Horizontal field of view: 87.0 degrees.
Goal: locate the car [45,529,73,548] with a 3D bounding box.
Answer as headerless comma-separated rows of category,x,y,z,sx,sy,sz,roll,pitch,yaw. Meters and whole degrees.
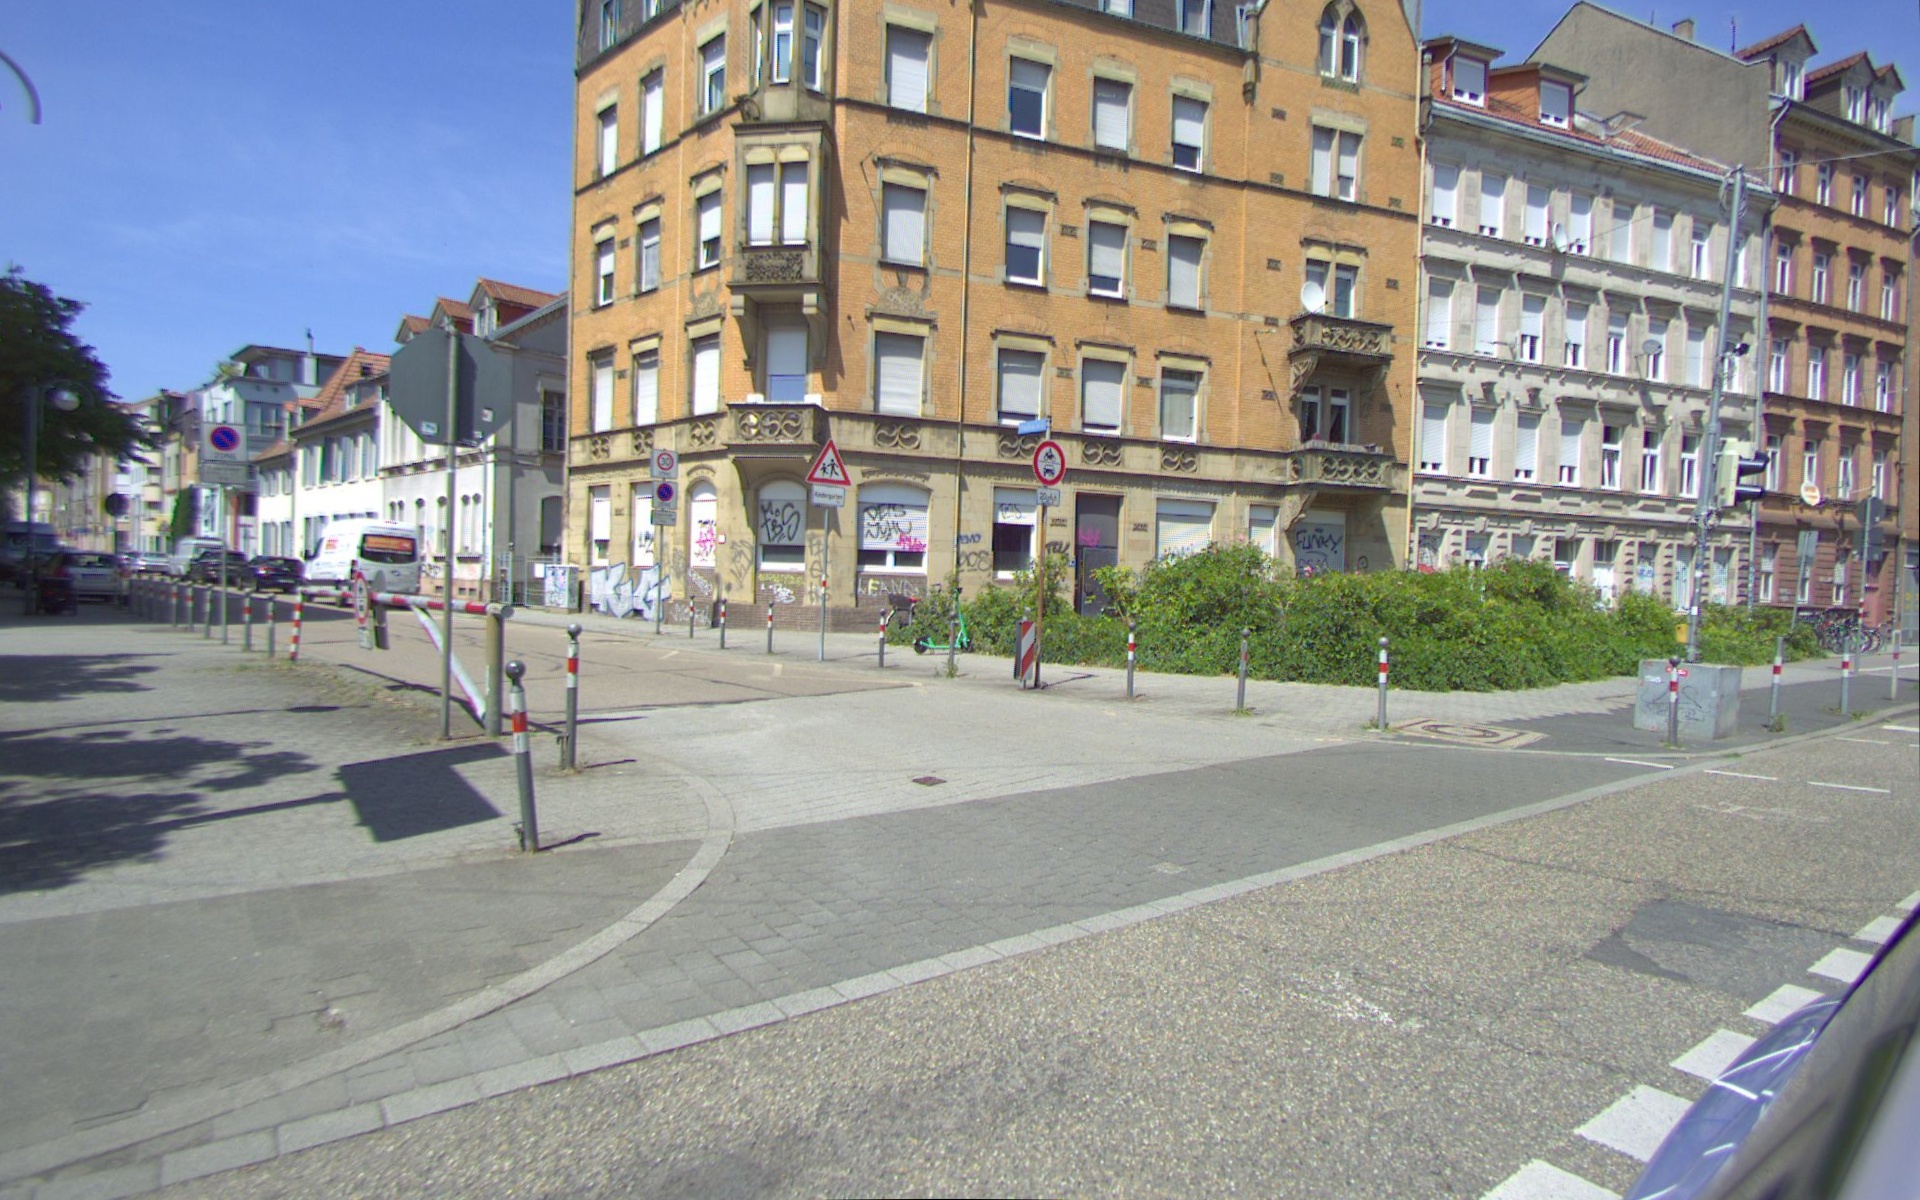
car,-93.012,-6.353,104.458,3.686,1.761,1.815,2,0,44

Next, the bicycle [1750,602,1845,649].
bicycle,22.780,0.664,27.550,0.483,1.195,1.921,1,0,-35

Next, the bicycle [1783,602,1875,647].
bicycle,24.714,0.690,28.803,0.483,1.195,1.921,1,0,-35

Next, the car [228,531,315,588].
car,-27.391,-1.576,40.207,1.967,2.061,4.815,1,0,-45

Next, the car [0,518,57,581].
car,-41.740,-2.222,45.195,3.818,2.673,1.637,2,0,42

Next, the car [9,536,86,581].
car,-32.709,-1.463,36.247,3.818,1.512,1.637,2,0,42

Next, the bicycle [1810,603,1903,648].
bicycle,25.782,0.720,29.132,0.483,1.195,1.921,1,0,-35

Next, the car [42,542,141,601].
car,-24.225,-0.783,28.182,3.818,1.538,1.586,2,0,42

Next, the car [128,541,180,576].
car,-50.238,-2.543,63.068,1.967,2.061,4.815,1,0,-45

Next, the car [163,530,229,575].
car,-38.053,-2.320,50.374,1.967,2.061,4.815,1,0,-45

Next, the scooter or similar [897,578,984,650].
scooter or similar,-0.340,0.251,17.826,1.458,1.220,0.491,1,0,-32

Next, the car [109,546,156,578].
car,-55.655,-2.520,68.006,1.967,2.061,4.815,1,0,-45

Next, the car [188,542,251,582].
car,-33.904,-1.696,46.287,1.806,1.705,3.990,1,0,-44

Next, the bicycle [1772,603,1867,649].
bicycle,23.719,0.700,27.966,0.483,1.195,1.921,1,0,-35

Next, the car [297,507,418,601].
car,-18.664,-1.365,31.235,1.967,2.655,5.204,1,0,-45

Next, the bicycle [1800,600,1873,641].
bicycle,26.435,0.607,30.536,1.882,1.195,0.493,1,0,-6

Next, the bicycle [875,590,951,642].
bicycle,-0.943,0.325,20.380,1.458,1.005,0.491,1,0,-32

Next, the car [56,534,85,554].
car,-84.632,-5.336,96.267,3.686,1.761,1.815,2,0,44
